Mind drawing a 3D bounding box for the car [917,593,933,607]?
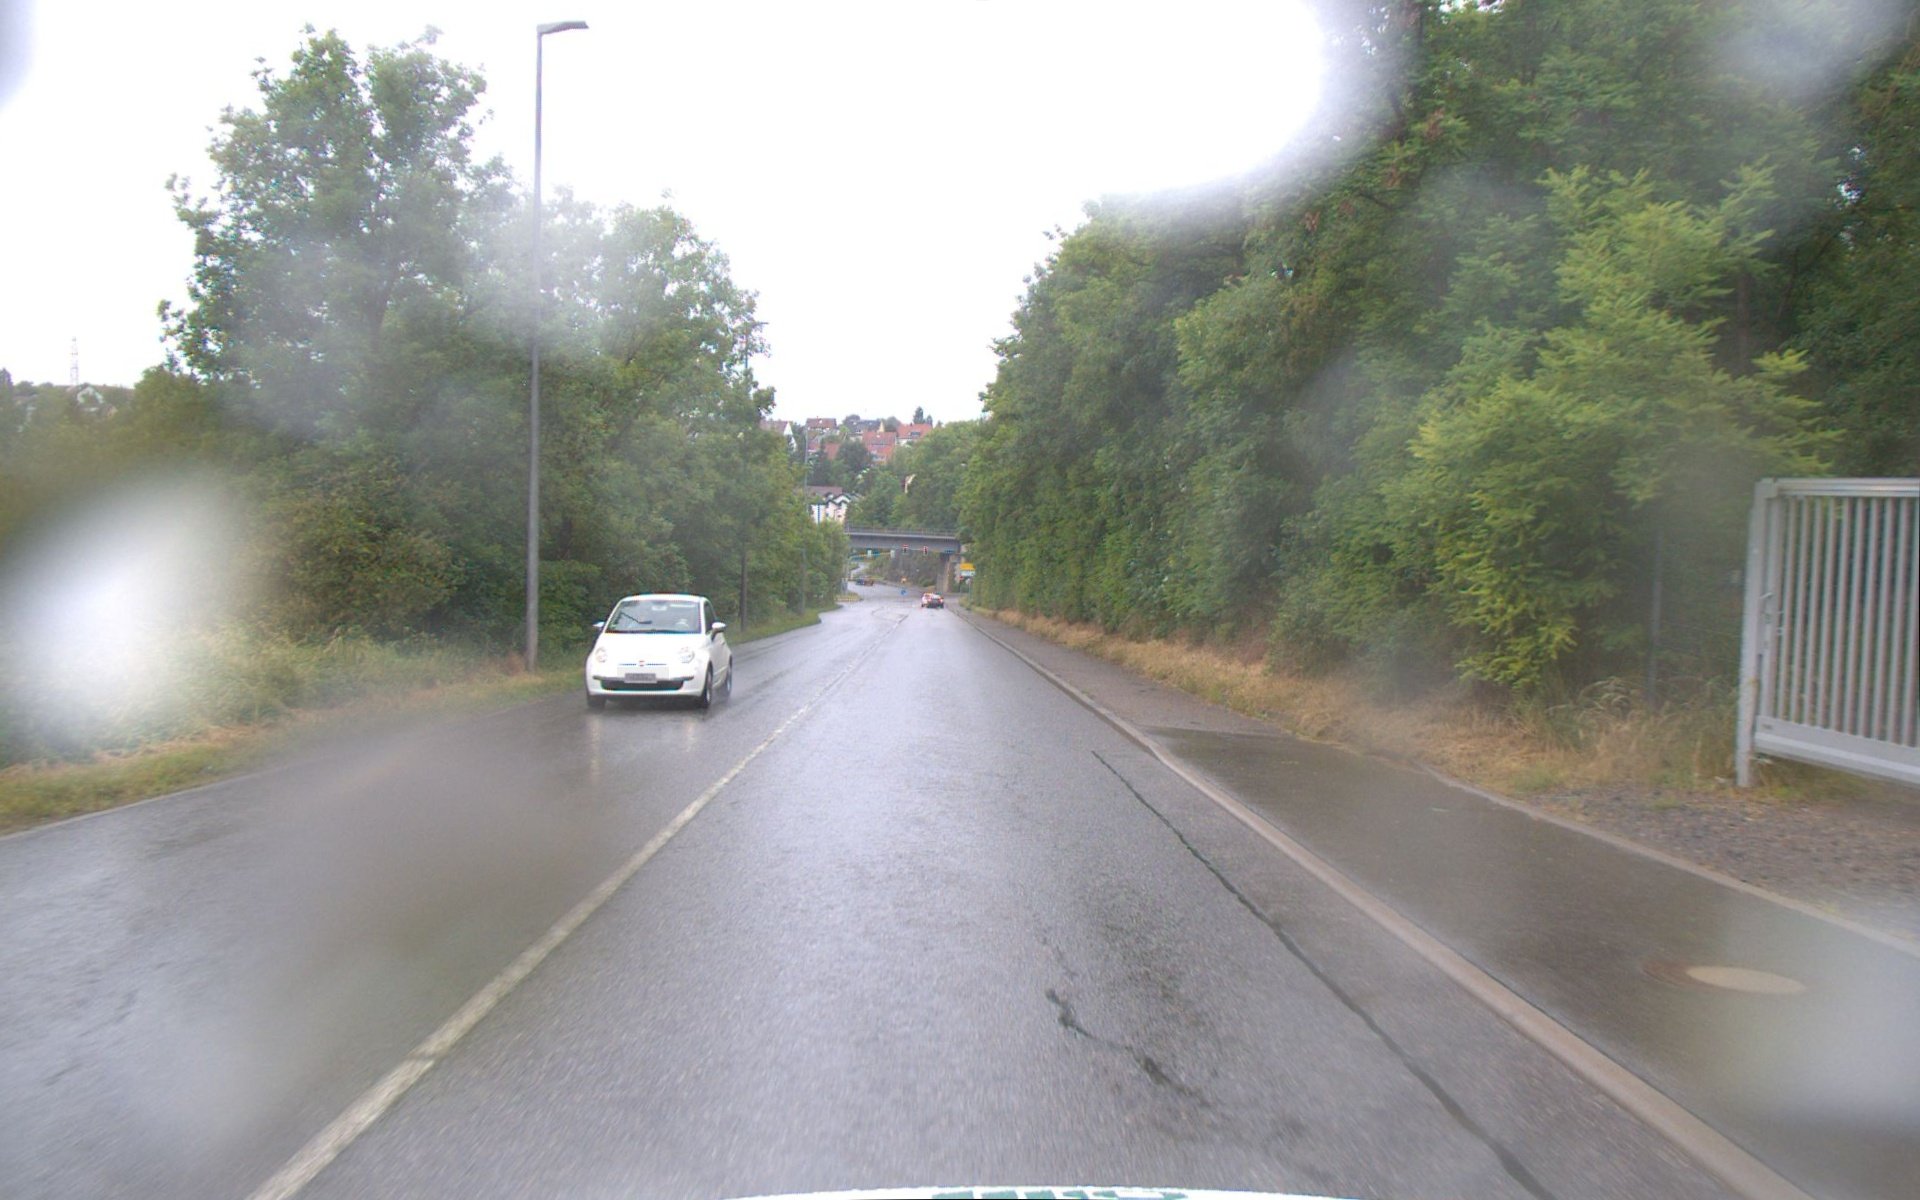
[{"bbox_3d":[-3.848,-0.022,183.804,1.732,1.590,3.999,0,0,-1],"label":"car"}]

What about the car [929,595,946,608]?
[{"bbox_3d":[-2.411,0.154,177.028,1.732,1.404,3.999,0,0,-1],"label":"car"}]

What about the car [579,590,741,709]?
[{"bbox_3d":[-4.038,0.631,22.729,1.605,1.514,3.454,0,0,0],"label":"car"}]
